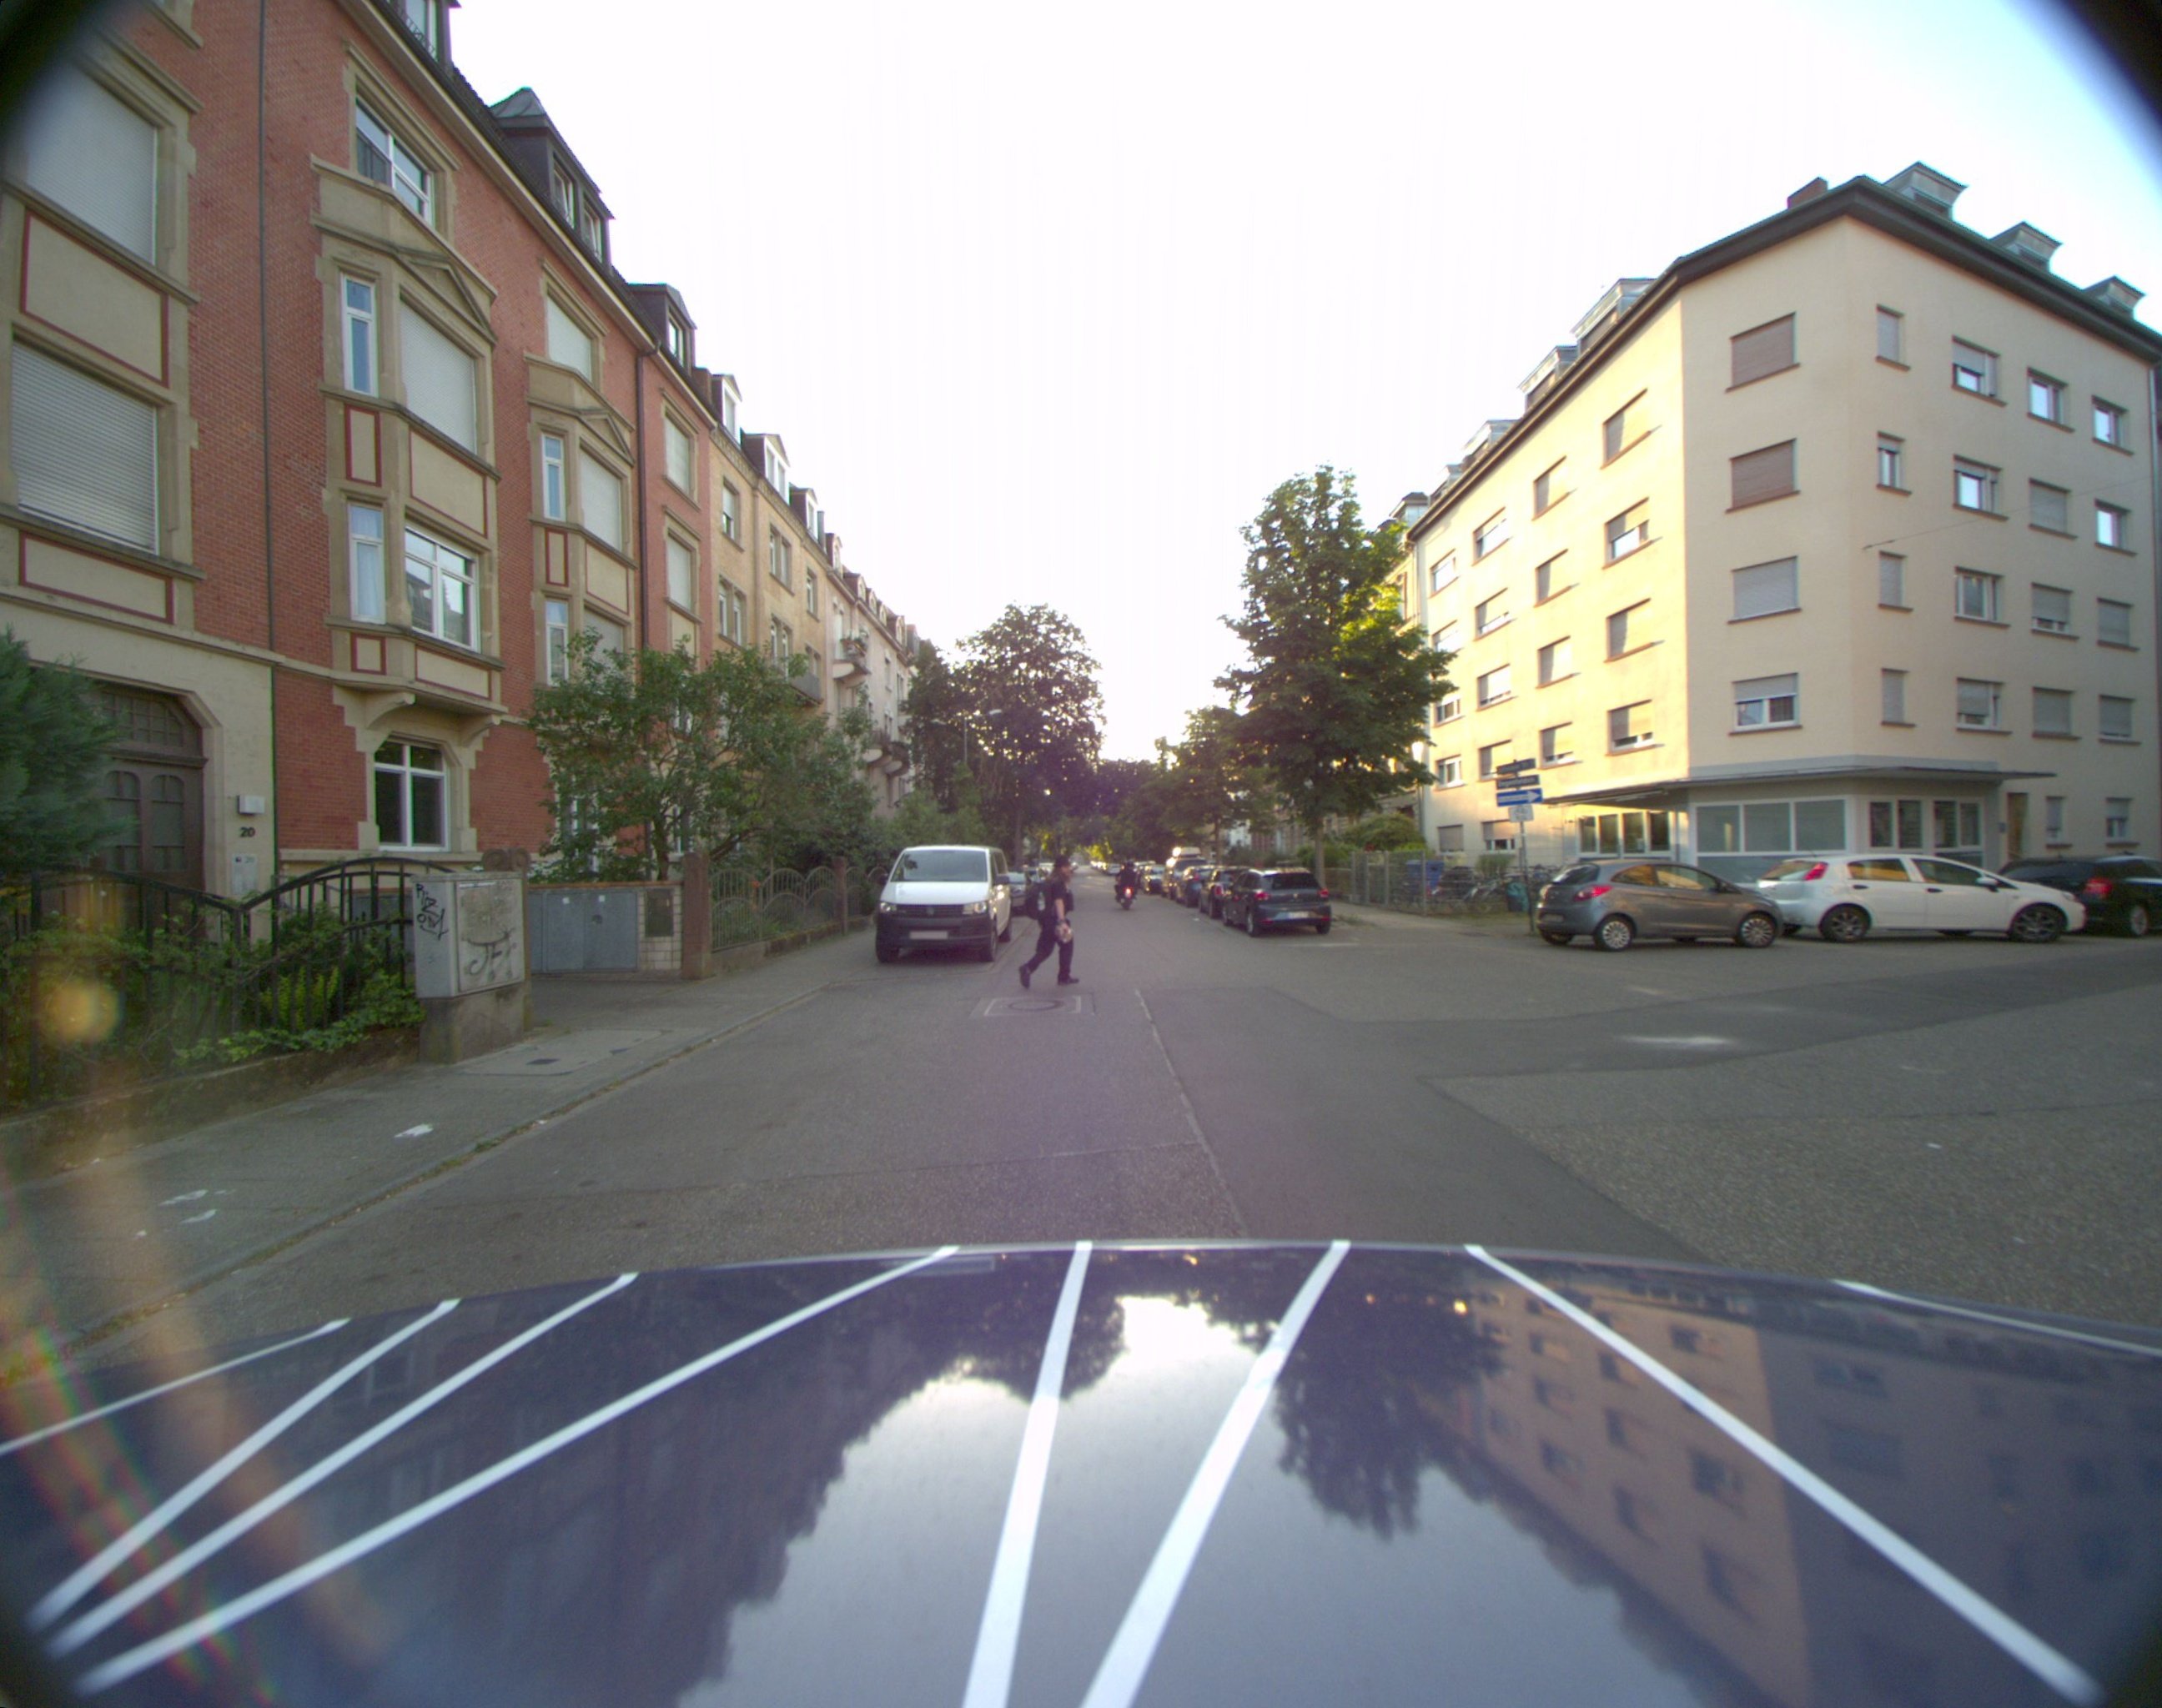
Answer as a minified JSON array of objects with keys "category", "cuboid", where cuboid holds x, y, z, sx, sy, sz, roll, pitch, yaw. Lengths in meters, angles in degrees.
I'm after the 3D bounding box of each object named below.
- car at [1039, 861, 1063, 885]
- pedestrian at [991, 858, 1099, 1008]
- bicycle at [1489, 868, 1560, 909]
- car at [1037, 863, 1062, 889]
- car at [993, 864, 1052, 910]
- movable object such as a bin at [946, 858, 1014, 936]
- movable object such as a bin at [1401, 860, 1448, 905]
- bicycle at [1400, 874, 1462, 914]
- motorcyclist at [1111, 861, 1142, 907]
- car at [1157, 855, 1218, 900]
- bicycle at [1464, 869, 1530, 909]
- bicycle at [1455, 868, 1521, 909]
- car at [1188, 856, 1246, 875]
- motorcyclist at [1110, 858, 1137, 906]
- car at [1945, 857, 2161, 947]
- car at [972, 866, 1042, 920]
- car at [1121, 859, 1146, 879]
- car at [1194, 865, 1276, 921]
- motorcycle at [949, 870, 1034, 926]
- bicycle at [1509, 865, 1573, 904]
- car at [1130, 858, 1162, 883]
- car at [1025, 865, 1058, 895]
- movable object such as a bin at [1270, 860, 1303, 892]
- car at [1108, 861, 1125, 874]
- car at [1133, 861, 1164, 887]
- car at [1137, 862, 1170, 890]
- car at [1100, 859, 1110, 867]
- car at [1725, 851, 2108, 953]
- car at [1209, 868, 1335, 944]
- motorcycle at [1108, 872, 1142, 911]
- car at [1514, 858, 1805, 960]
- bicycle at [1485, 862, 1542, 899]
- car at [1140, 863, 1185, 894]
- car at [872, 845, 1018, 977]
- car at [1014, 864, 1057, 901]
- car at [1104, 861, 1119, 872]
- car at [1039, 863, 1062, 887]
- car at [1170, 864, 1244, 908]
[{"category":"car","cuboid":[-2.270,1.419,58.351,1.737,1.691,4.168,-2,0,-2]},{"category":"pedestrian","cuboid":[-0.456,0.932,9.493,0.960,1.712,0.889,-3,0,-32]},{"category":"bicycle","cuboid":[12.569,0.971,21.576,0.386,1.085,1.707,-3,0,-36]},{"category":"car","cuboid":[-1.999,1.383,48.339,1.479,1.498,3.928,-2,0,-2]},{"category":"car","cuboid":[-2.284,1.258,30.755,1.761,1.573,4.843,-3,0,2]},{"category":"movable object such as a bin","cuboid":[-2.533,1.038,19.429,1.415,1.867,2.324,1,0,0]},{"category":"movable object such as a bin","cuboid":[10.952,0.901,24.277,0.868,1.344,1.398,-3,0,2]},{"category":"bicycle","cuboid":[9.804,1.102,21.365,0.689,1.019,1.931,-3,0,-5]},{"category":"motorcyclist","cuboid":[1.557,1.017,25.764,0.891,1.496,0.970,1,1,10]},{"category":"car","cuboid":[4.504,0.957,32.892,1.866,1.768,4.623,-2,0,-1]},{"category":"bicycle","cuboid":[11.880,0.987,21.739,0.502,1.085,1.545,-3,0,-37]},{"category":"bicycle","cuboid":[11.456,0.964,21.437,0.502,1.085,1.545,-3,0,-37]},{"category":"car","cuboid":[11.133,0.936,62.422,4.413,1.333,1.626,-2,0,1]},{"category":"motorcyclist","cuboid":[1.415,0.905,24.990,0.788,1.531,0.546,1,1,10]},{"category":"car","cuboid":[18.592,0.797,13.979,4.082,1.430,1.996,-1,-1,-16]},{"category":"car","cuboid":[-2.376,1.238,25.501,1.724,1.542,4.326,-2,0,2]},{"category":"car","cuboid":[4.446,1.253,64.596,1.677,1.627,3.940,-2,0,-3]},{"category":"car","cuboid":[4.498,1.085,22.729,1.746,1.412,4.143,-2,0,2]},{"category":"motorcycle","cuboid":[-2.513,1.196,21.432,2.099,1.473,1.130,0,0,-33]},{"category":"bicycle","cuboid":[13.970,0.913,23.086,1.635,1.086,0.500,-3,0,-6]},{"category":"car","cuboid":[4.512,1.131,53.353,1.866,1.653,4.021,-2,0,1]},{"category":"car","cuboid":[-2.177,1.431,43.116,1.737,1.498,4.163,-2,0,-2]},{"category":"movable object such as a bin","cuboid":[9.282,0.991,34.405,0.948,1.379,1.551,-3,0,-3]},{"category":"car","cuboid":[4.543,1.719,98.591,1.953,1.484,3.738,-2,0,0]},{"category":"car","cuboid":[4.263,1.246,48.312,1.682,1.489,3.626,-2,0,2]},{"category":"car","cuboid":[4.144,1.243,43.854,1.441,1.485,3.298,-2,0,-2]},{"category":"car","cuboid":[4.619,1.793,148.146,1.840,1.484,3.641,-2,0,0]},{"category":"car","cuboid":[14.212,0.802,13.247,4.066,1.499,1.975,-3,0,12]},{"category":"car","cuboid":[4.326,1.117,17.904,1.679,1.453,4.463,-2,0,-2]},{"category":"motorcycle","cuboid":[1.505,1.246,25.595,0.848,1.202,2.076,1,0,10]},{"category":"car","cuboid":[9.688,0.887,12.956,3.515,1.498,1.845,-2,-1,-1]},{"category":"bicycle","cuboid":[13.839,0.835,24.317,1.548,1.086,0.500,-3,0,-6]},{"category":"car","cuboid":[4.100,1.193,38.942,1.733,1.433,4.024,-2,0,-2]},{"category":"car","cuboid":[-2.324,0.892,14.485,1.866,2.027,5.544,0,0,-1]},{"category":"car","cuboid":[-2.068,1.296,35.249,1.590,1.516,3.603,-3,0,2]},{"category":"car","cuboid":[4.216,1.715,104.232,1.840,1.484,3.641,-2,0,0]},{"category":"car","cuboid":[-2.102,1.434,52.733,1.502,1.538,3.338,-2,0,-2]},{"category":"car","cuboid":[4.511,1.104,27.886,1.866,1.404,4.590,-2,0,-1]}]
